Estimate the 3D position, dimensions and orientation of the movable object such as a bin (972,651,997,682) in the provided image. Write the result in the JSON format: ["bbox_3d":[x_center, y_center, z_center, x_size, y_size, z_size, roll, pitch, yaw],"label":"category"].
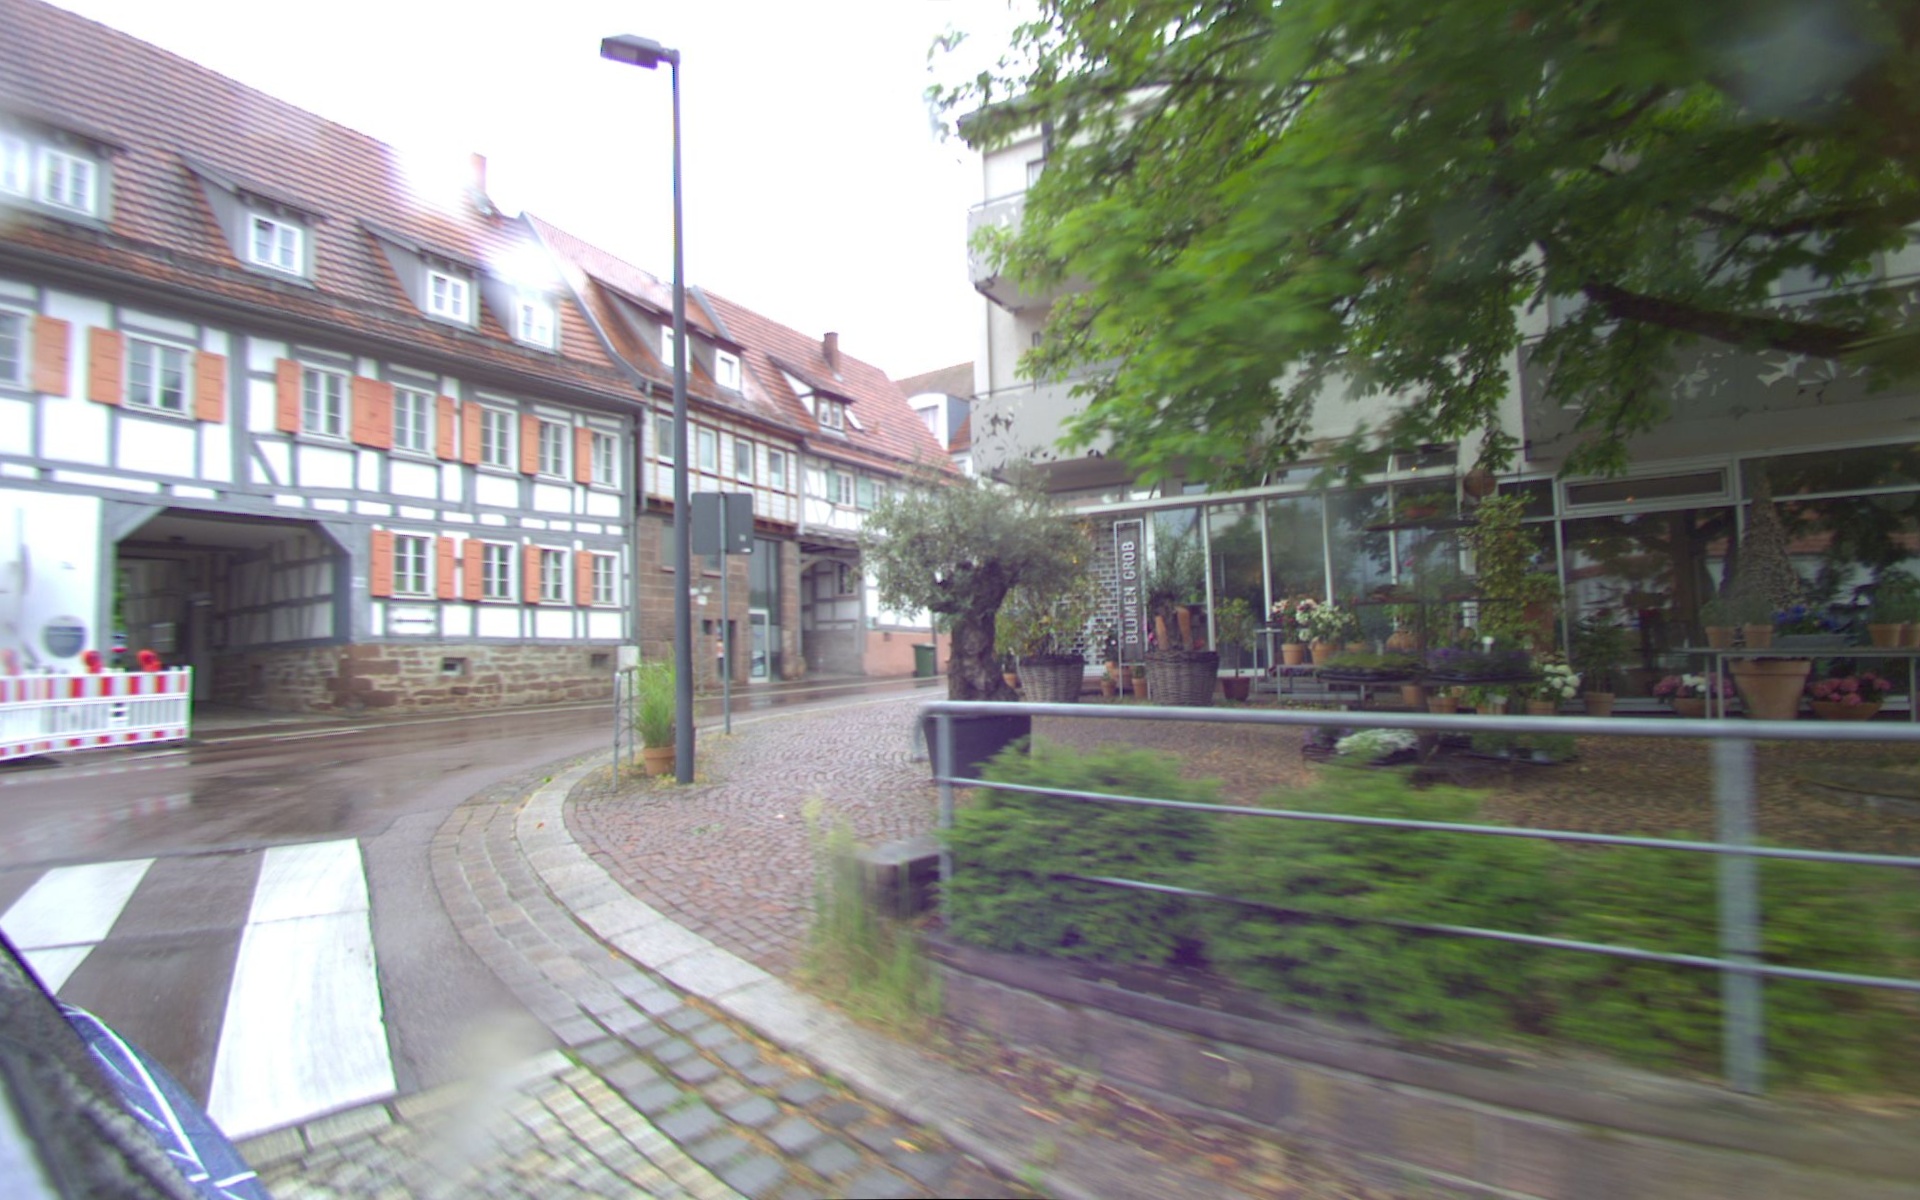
[{"bbox_3d":[0.879,2.381,36.278,0.668,1.089,0.582,-3,-3,27],"label":"movable object such as a bin"}]

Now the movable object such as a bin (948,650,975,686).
[{"bbox_3d":[0.052,2.313,34.448,0.638,1.156,0.573,-5,-4,34],"label":"movable object such as a bin"}]

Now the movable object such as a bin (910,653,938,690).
[{"bbox_3d":[-1.154,2.295,32.429,0.608,1.136,0.593,-5,-4,29],"label":"movable object such as a bin"}]

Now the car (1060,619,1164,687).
[{"bbox_3d":[4.716,1.584,30.927,1.721,1.839,4.386,-5,-4,28],"label":"car"}]

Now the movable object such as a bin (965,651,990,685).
[{"bbox_3d":[0.619,2.394,35.631,0.637,1.156,0.626,-5,-4,27],"label":"movable object such as a bin"}]

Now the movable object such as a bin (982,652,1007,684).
[{"bbox_3d":[1.270,2.502,37.170,0.676,1.105,0.645,-5,-4,25],"label":"movable object such as a bin"}]

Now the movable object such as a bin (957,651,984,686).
[{"bbox_3d":[0.365,2.361,35.042,0.638,1.156,0.596,-5,-4,34],"label":"movable object such as a bin"}]
